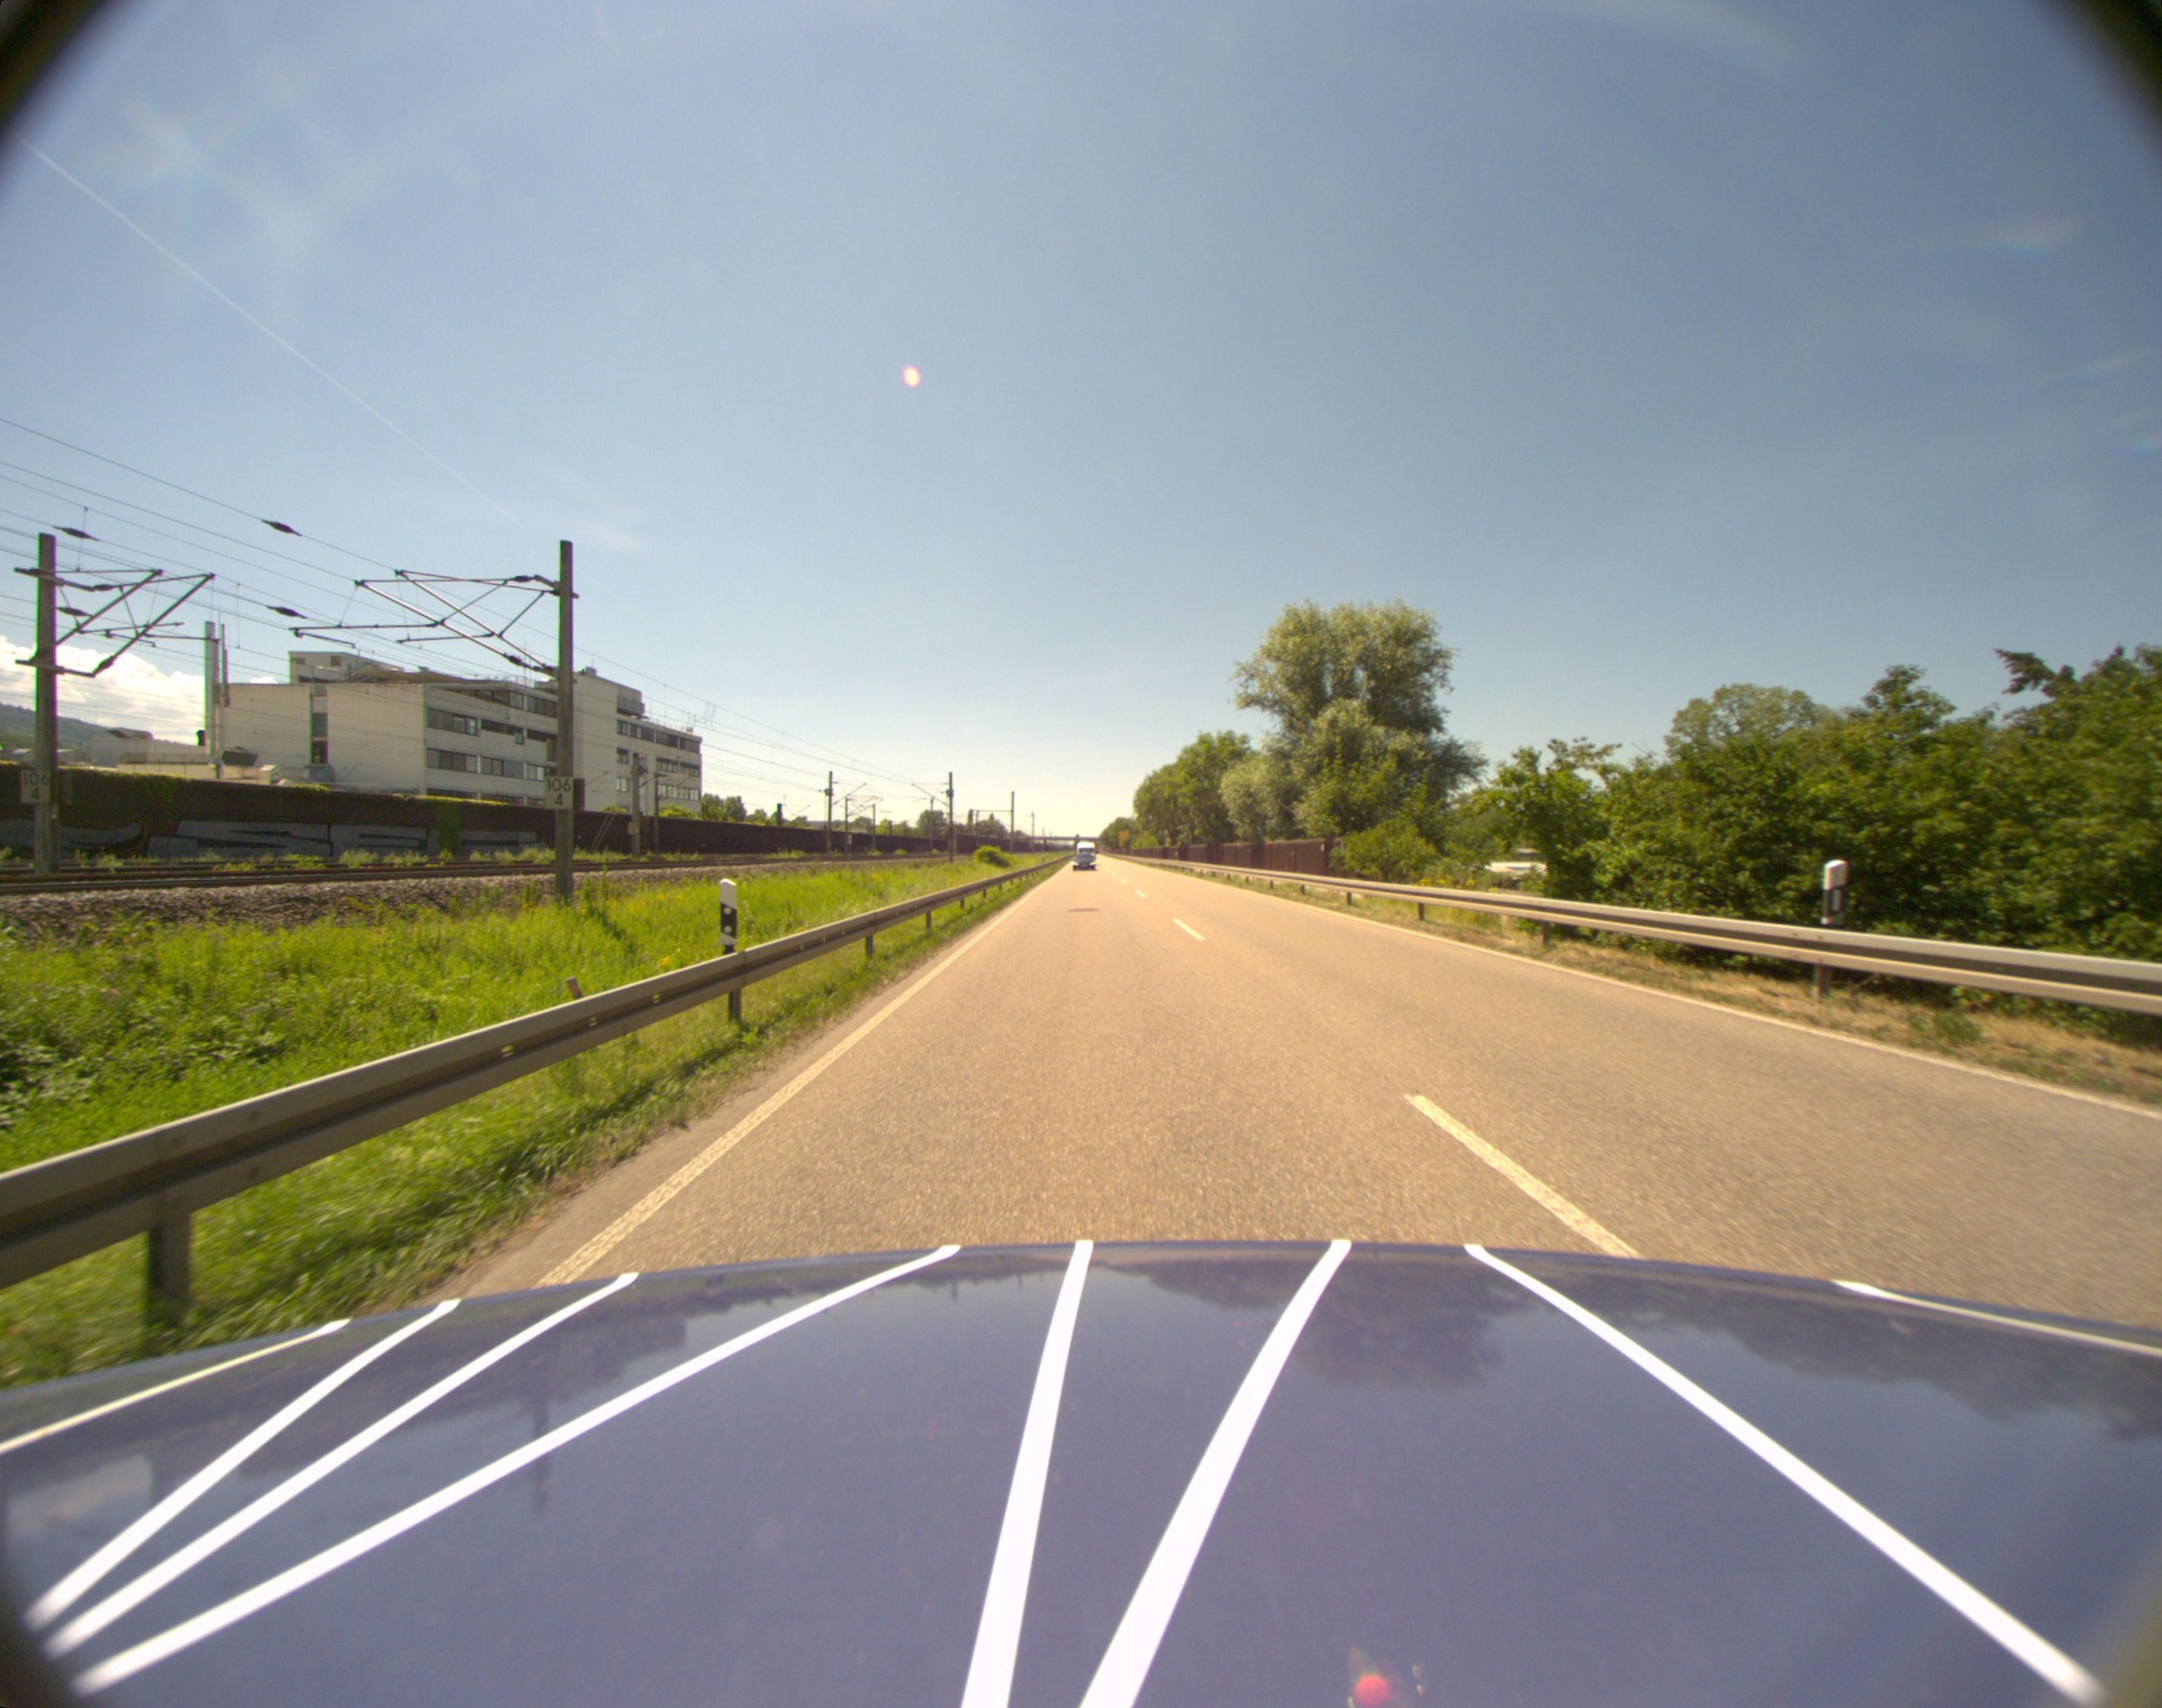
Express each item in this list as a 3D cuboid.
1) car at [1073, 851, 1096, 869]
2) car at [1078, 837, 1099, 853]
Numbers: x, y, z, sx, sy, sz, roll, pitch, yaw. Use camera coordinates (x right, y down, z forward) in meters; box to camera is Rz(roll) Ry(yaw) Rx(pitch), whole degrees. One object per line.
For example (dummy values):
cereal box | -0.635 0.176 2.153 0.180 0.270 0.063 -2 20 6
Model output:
car | 0.317 0.455 61.351 1.758 1.313 3.999 -2 1 0
car | 0.833 -1.022 84.956 2.161 1.702 4.492 -2 1 0
